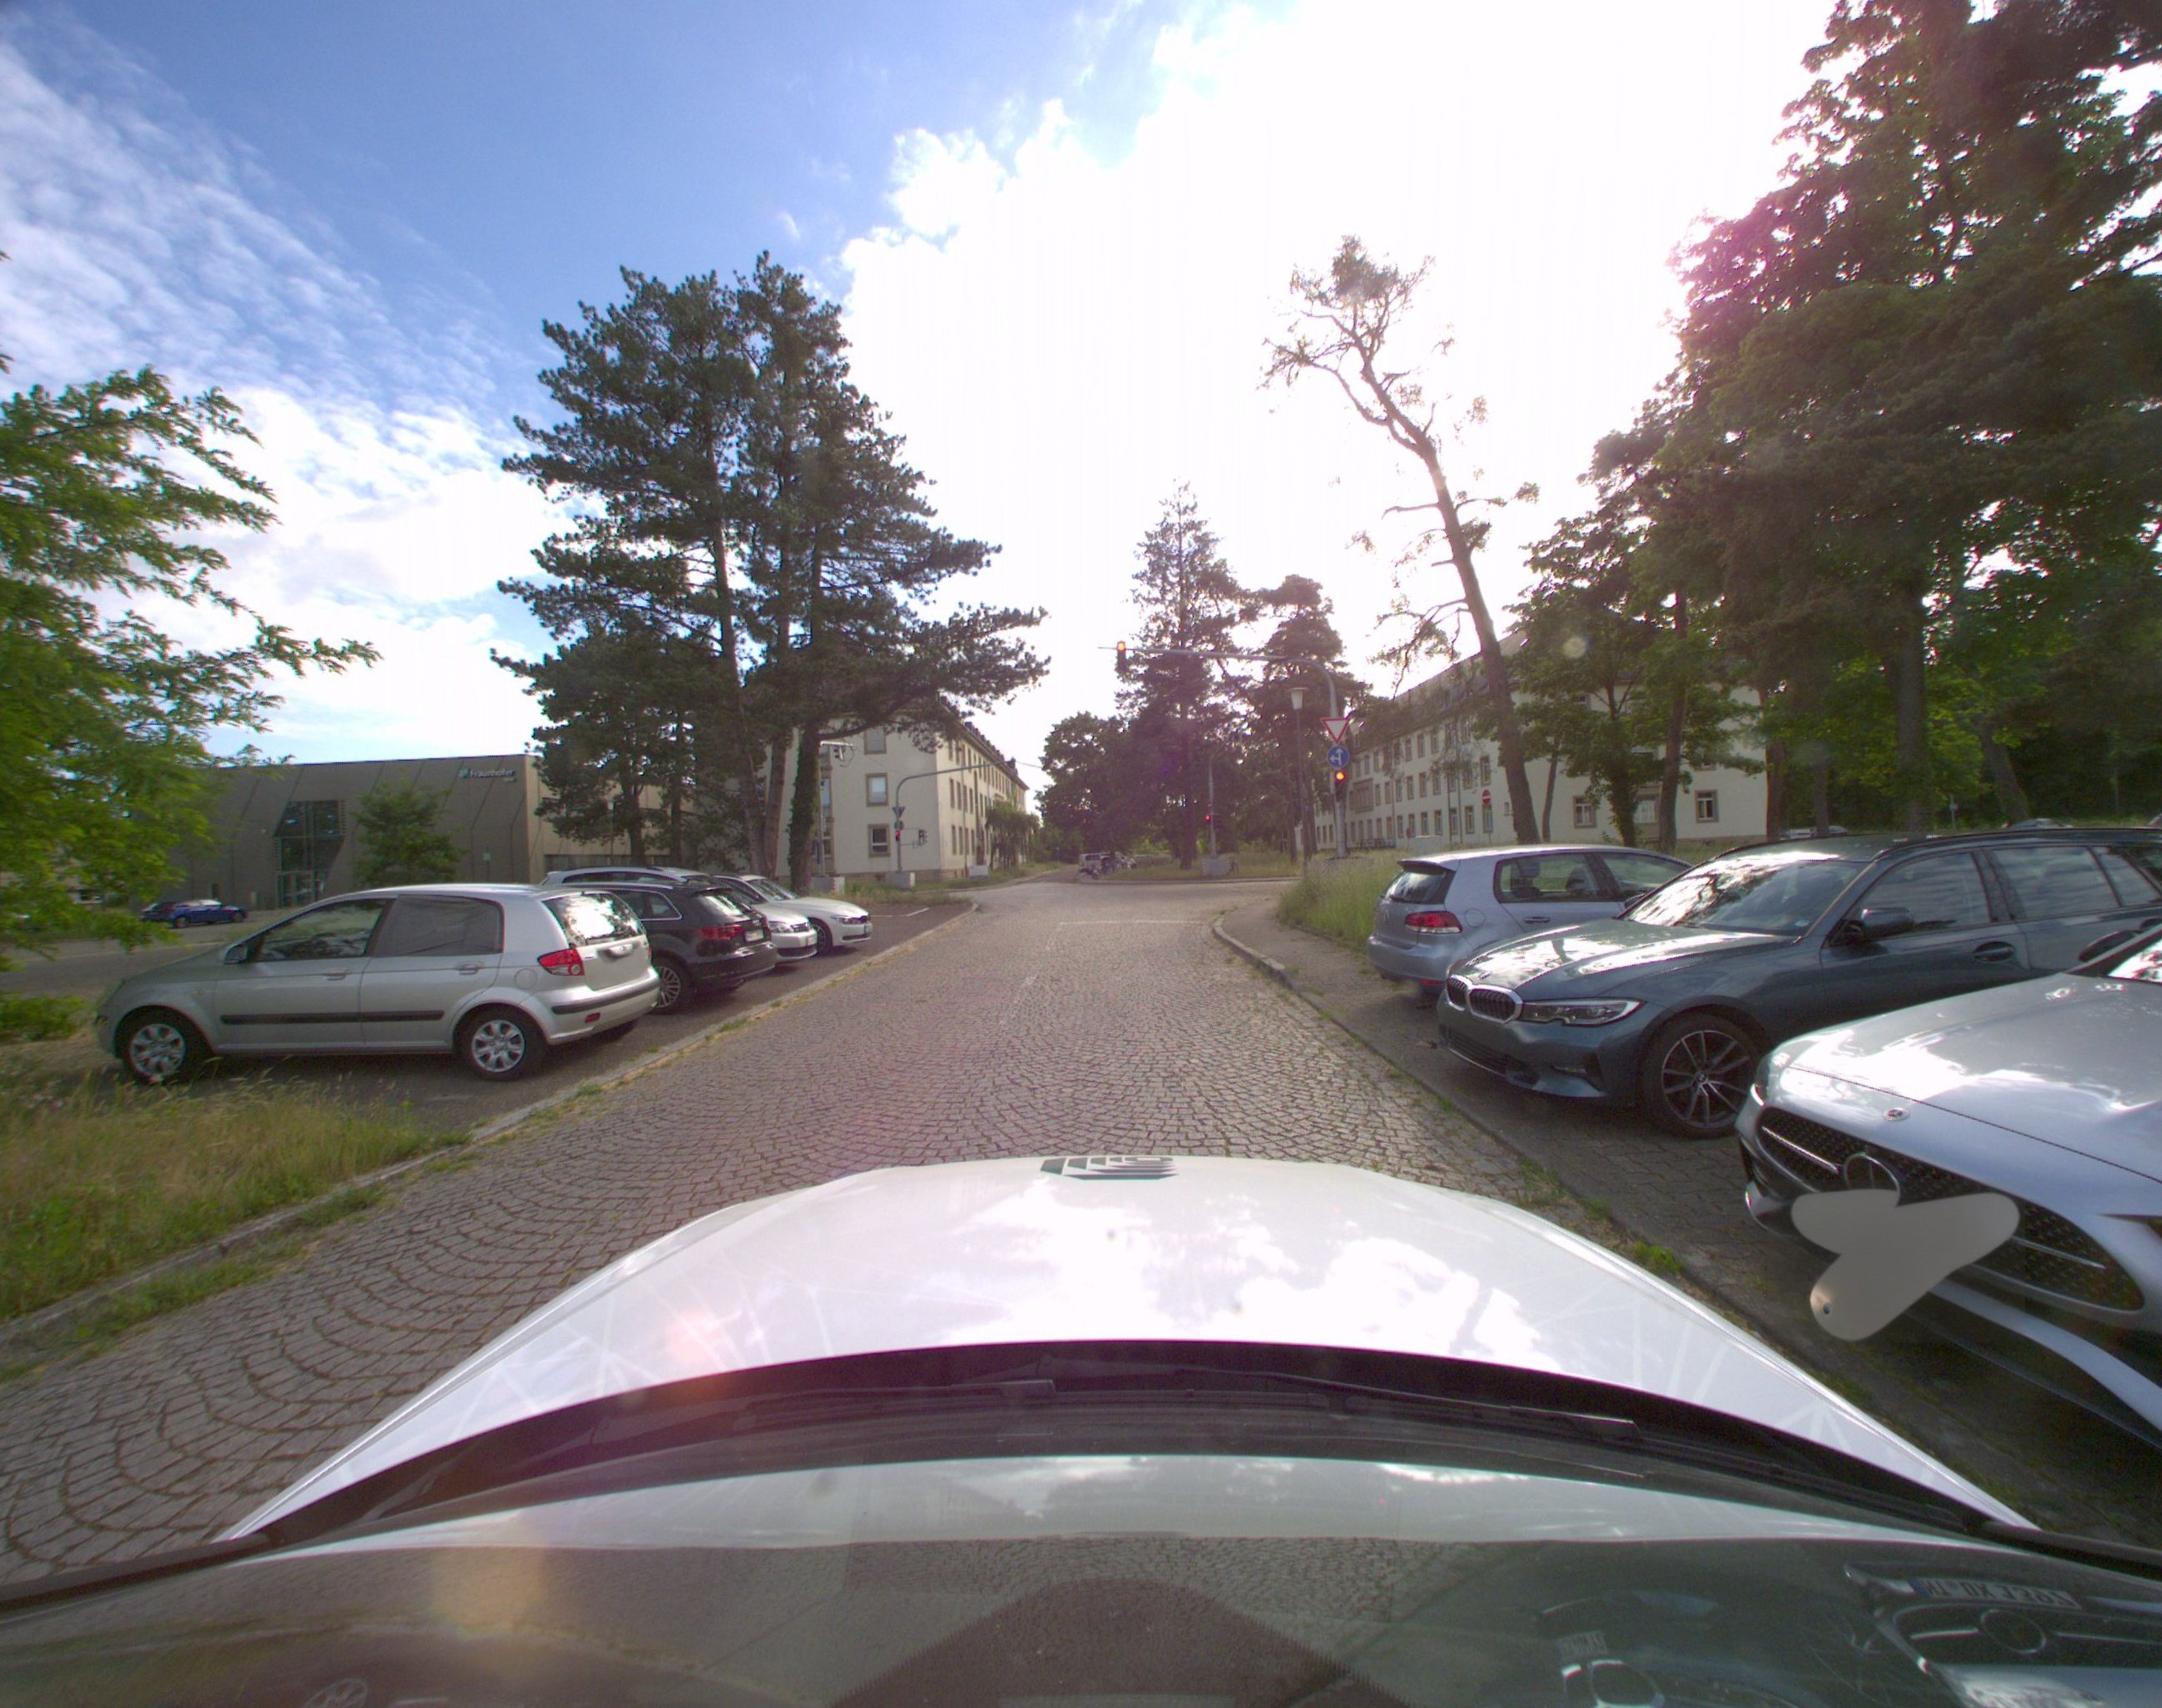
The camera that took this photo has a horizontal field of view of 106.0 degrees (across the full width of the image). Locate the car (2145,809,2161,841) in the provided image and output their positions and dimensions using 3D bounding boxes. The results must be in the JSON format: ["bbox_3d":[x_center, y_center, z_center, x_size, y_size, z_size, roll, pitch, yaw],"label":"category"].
[{"bbox_3d":[57.000,-1.581,41.081,2.009,1.600,3.956,-3,0,-36],"label":"car"}]

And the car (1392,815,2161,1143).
[{"bbox_3d":[4.548,0.603,5.062,4.500,1.483,1.806,-3,0,-2],"label":"car"}]

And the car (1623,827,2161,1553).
[{"bbox_3d":[4.349,0.603,2.380,4.312,1.428,1.767,-3,0,0],"label":"car"}]

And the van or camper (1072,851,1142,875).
[{"bbox_3d":[2.398,0.831,74.749,6.038,1.949,1.991,-3,0,-13],"label":"van or camper"}]

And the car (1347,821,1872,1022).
[{"bbox_3d":[4.714,0.568,7.669,3.830,1.471,1.642,-3,0,0],"label":"car"}]

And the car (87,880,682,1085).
[{"bbox_3d":[-5.601,0.984,6.929,3.566,1.476,1.646,0,-1,-2],"label":"car"}]

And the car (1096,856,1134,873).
[{"bbox_3d":[2.941,0.906,71.163,3.132,1.354,1.617,-3,0,-5],"label":"car"}]

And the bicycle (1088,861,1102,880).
[{"bbox_3d":[0.905,1.051,52.509,0.723,1.107,2.463,-7,-1,3],"label":"bicycle"}]

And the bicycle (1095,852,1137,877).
[{"bbox_3d":[2.492,0.745,57.966,2.772,1.694,1.118,-3,0,-7],"label":"bicycle"}]

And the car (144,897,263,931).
[{"bbox_3d":[-47.260,3.202,43.995,1.750,1.414,4.136,-3,0,4],"label":"car"}]

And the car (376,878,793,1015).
[{"bbox_3d":[-5.611,1.014,9.560,3.823,1.408,1.695,0,0,0],"label":"car"}]

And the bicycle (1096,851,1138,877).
[{"bbox_3d":[2.487,0.711,56.772,2.771,1.694,1.118,-3,0,-5],"label":"bicycle"}]

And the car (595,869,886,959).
[{"bbox_3d":[-6.008,1.049,14.821,4.467,1.442,1.828,1,0,-3],"label":"car"}]

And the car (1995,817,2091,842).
[{"bbox_3d":[58.334,-1.468,49.431,3.972,1.398,1.564,0,-1,1],"label":"car"}]

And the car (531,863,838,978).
[{"bbox_3d":[-5.905,0.953,12.483,3.821,1.607,1.734,0,0,-2],"label":"car"}]

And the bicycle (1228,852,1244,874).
[{"bbox_3d":[8.520,0.482,44.889,0.720,1.169,2.743,-1,-1,8],"label":"bicycle"}]
